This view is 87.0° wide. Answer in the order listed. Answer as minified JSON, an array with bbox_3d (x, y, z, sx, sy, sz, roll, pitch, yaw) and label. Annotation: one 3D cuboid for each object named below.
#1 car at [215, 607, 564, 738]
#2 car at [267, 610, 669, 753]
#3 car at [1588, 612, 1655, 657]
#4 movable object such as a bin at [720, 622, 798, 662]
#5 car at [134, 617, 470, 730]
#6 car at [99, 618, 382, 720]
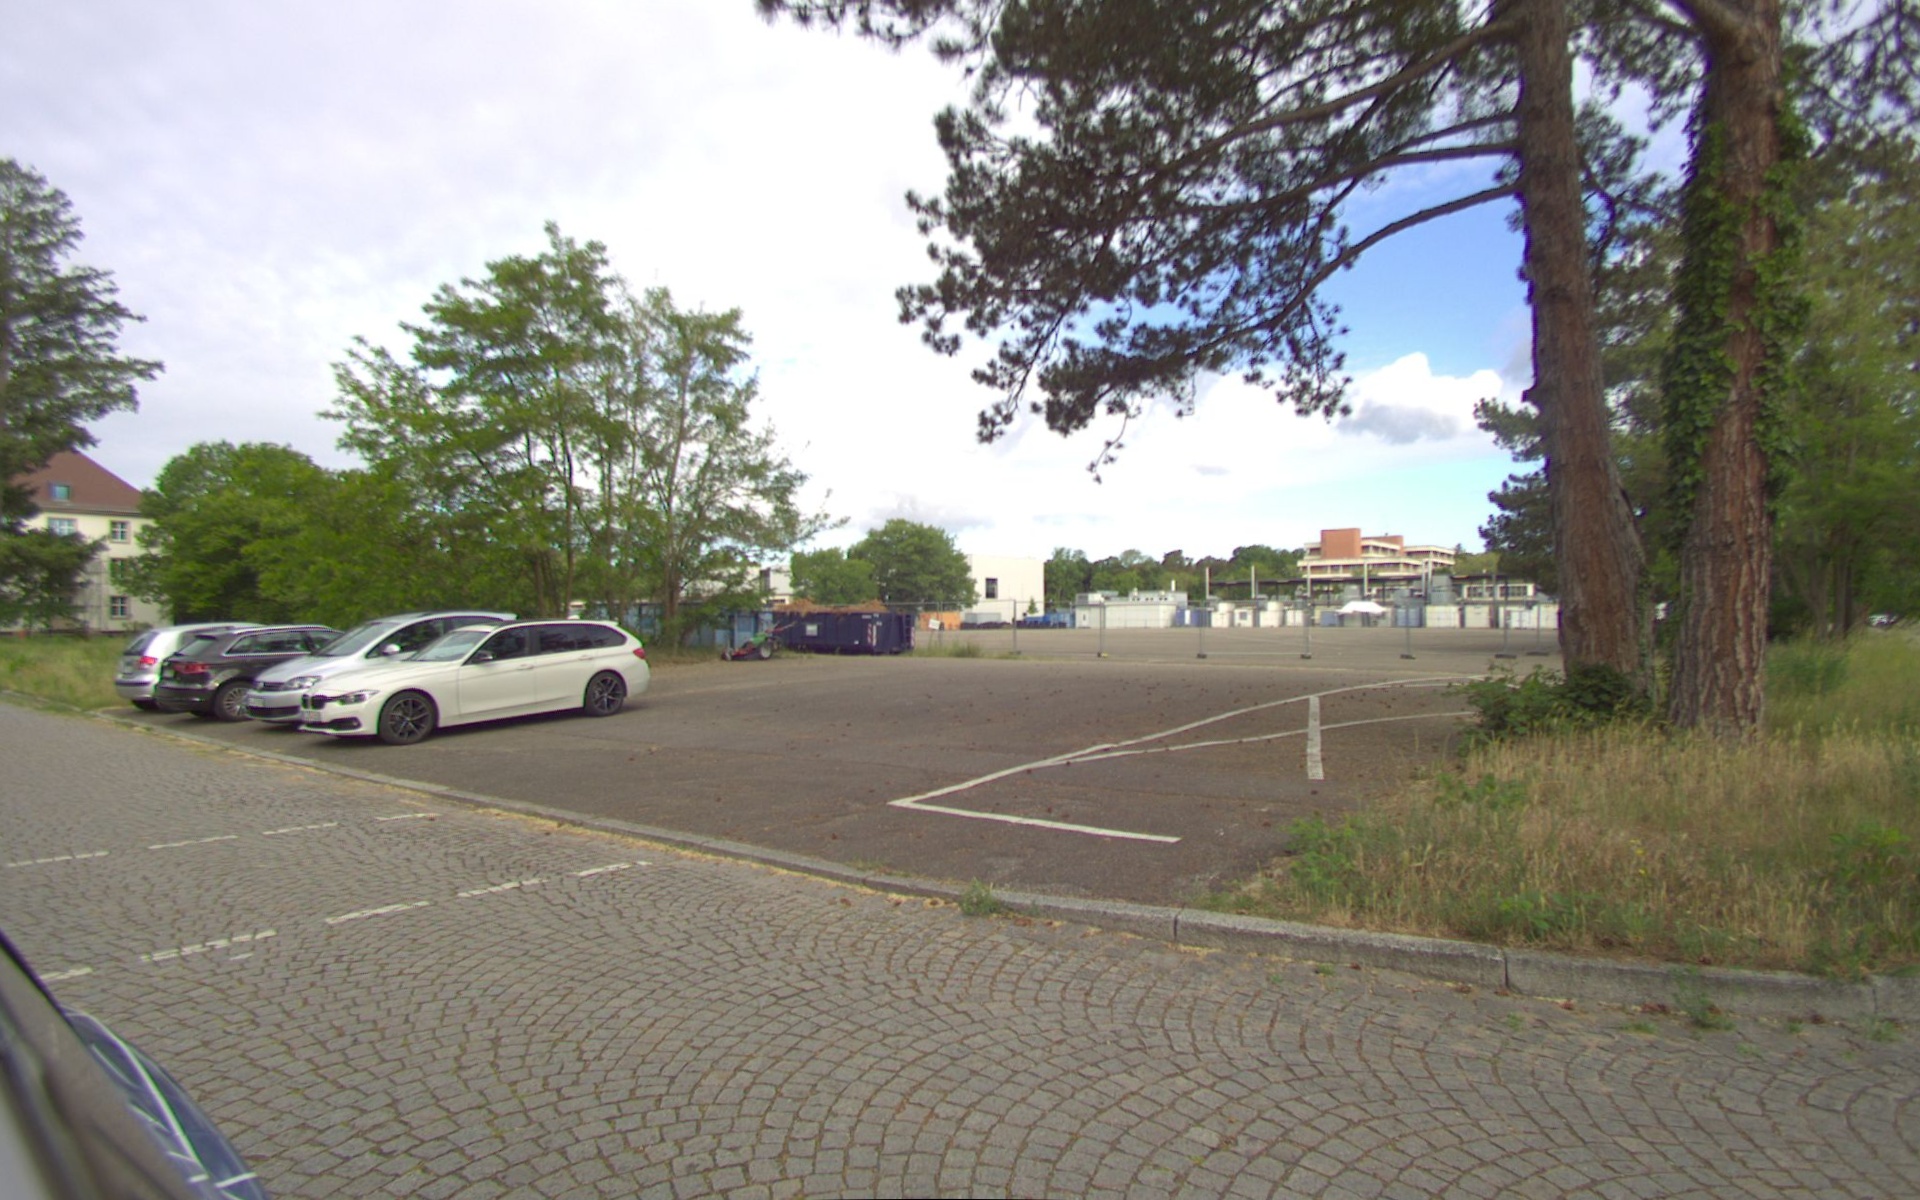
[{"bbox_3d":[-8.598,0.987,15.660,1.867,1.610,4.328,-1,0,33],"label":"car"},{"bbox_3d":[-6.588,0.990,14.090,1.863,1.499,4.696,-3,0,36],"label":"car"},{"bbox_3d":[24.031,1.215,36.688,1.733,1.443,4.109,-1,0,37],"label":"car"},{"bbox_3d":[-5.841,1.214,29.573,0.857,1.134,2.240,-1,-2,37],"label":"movable object such as a bin"},{"bbox_3d":[-10.871,1.114,17.040,1.719,1.435,4.394,-1,1,37],"label":"car"},{"bbox_3d":[-13.054,1.165,18.588,1.582,1.481,3.915,-1,1,36],"label":"car"}]
